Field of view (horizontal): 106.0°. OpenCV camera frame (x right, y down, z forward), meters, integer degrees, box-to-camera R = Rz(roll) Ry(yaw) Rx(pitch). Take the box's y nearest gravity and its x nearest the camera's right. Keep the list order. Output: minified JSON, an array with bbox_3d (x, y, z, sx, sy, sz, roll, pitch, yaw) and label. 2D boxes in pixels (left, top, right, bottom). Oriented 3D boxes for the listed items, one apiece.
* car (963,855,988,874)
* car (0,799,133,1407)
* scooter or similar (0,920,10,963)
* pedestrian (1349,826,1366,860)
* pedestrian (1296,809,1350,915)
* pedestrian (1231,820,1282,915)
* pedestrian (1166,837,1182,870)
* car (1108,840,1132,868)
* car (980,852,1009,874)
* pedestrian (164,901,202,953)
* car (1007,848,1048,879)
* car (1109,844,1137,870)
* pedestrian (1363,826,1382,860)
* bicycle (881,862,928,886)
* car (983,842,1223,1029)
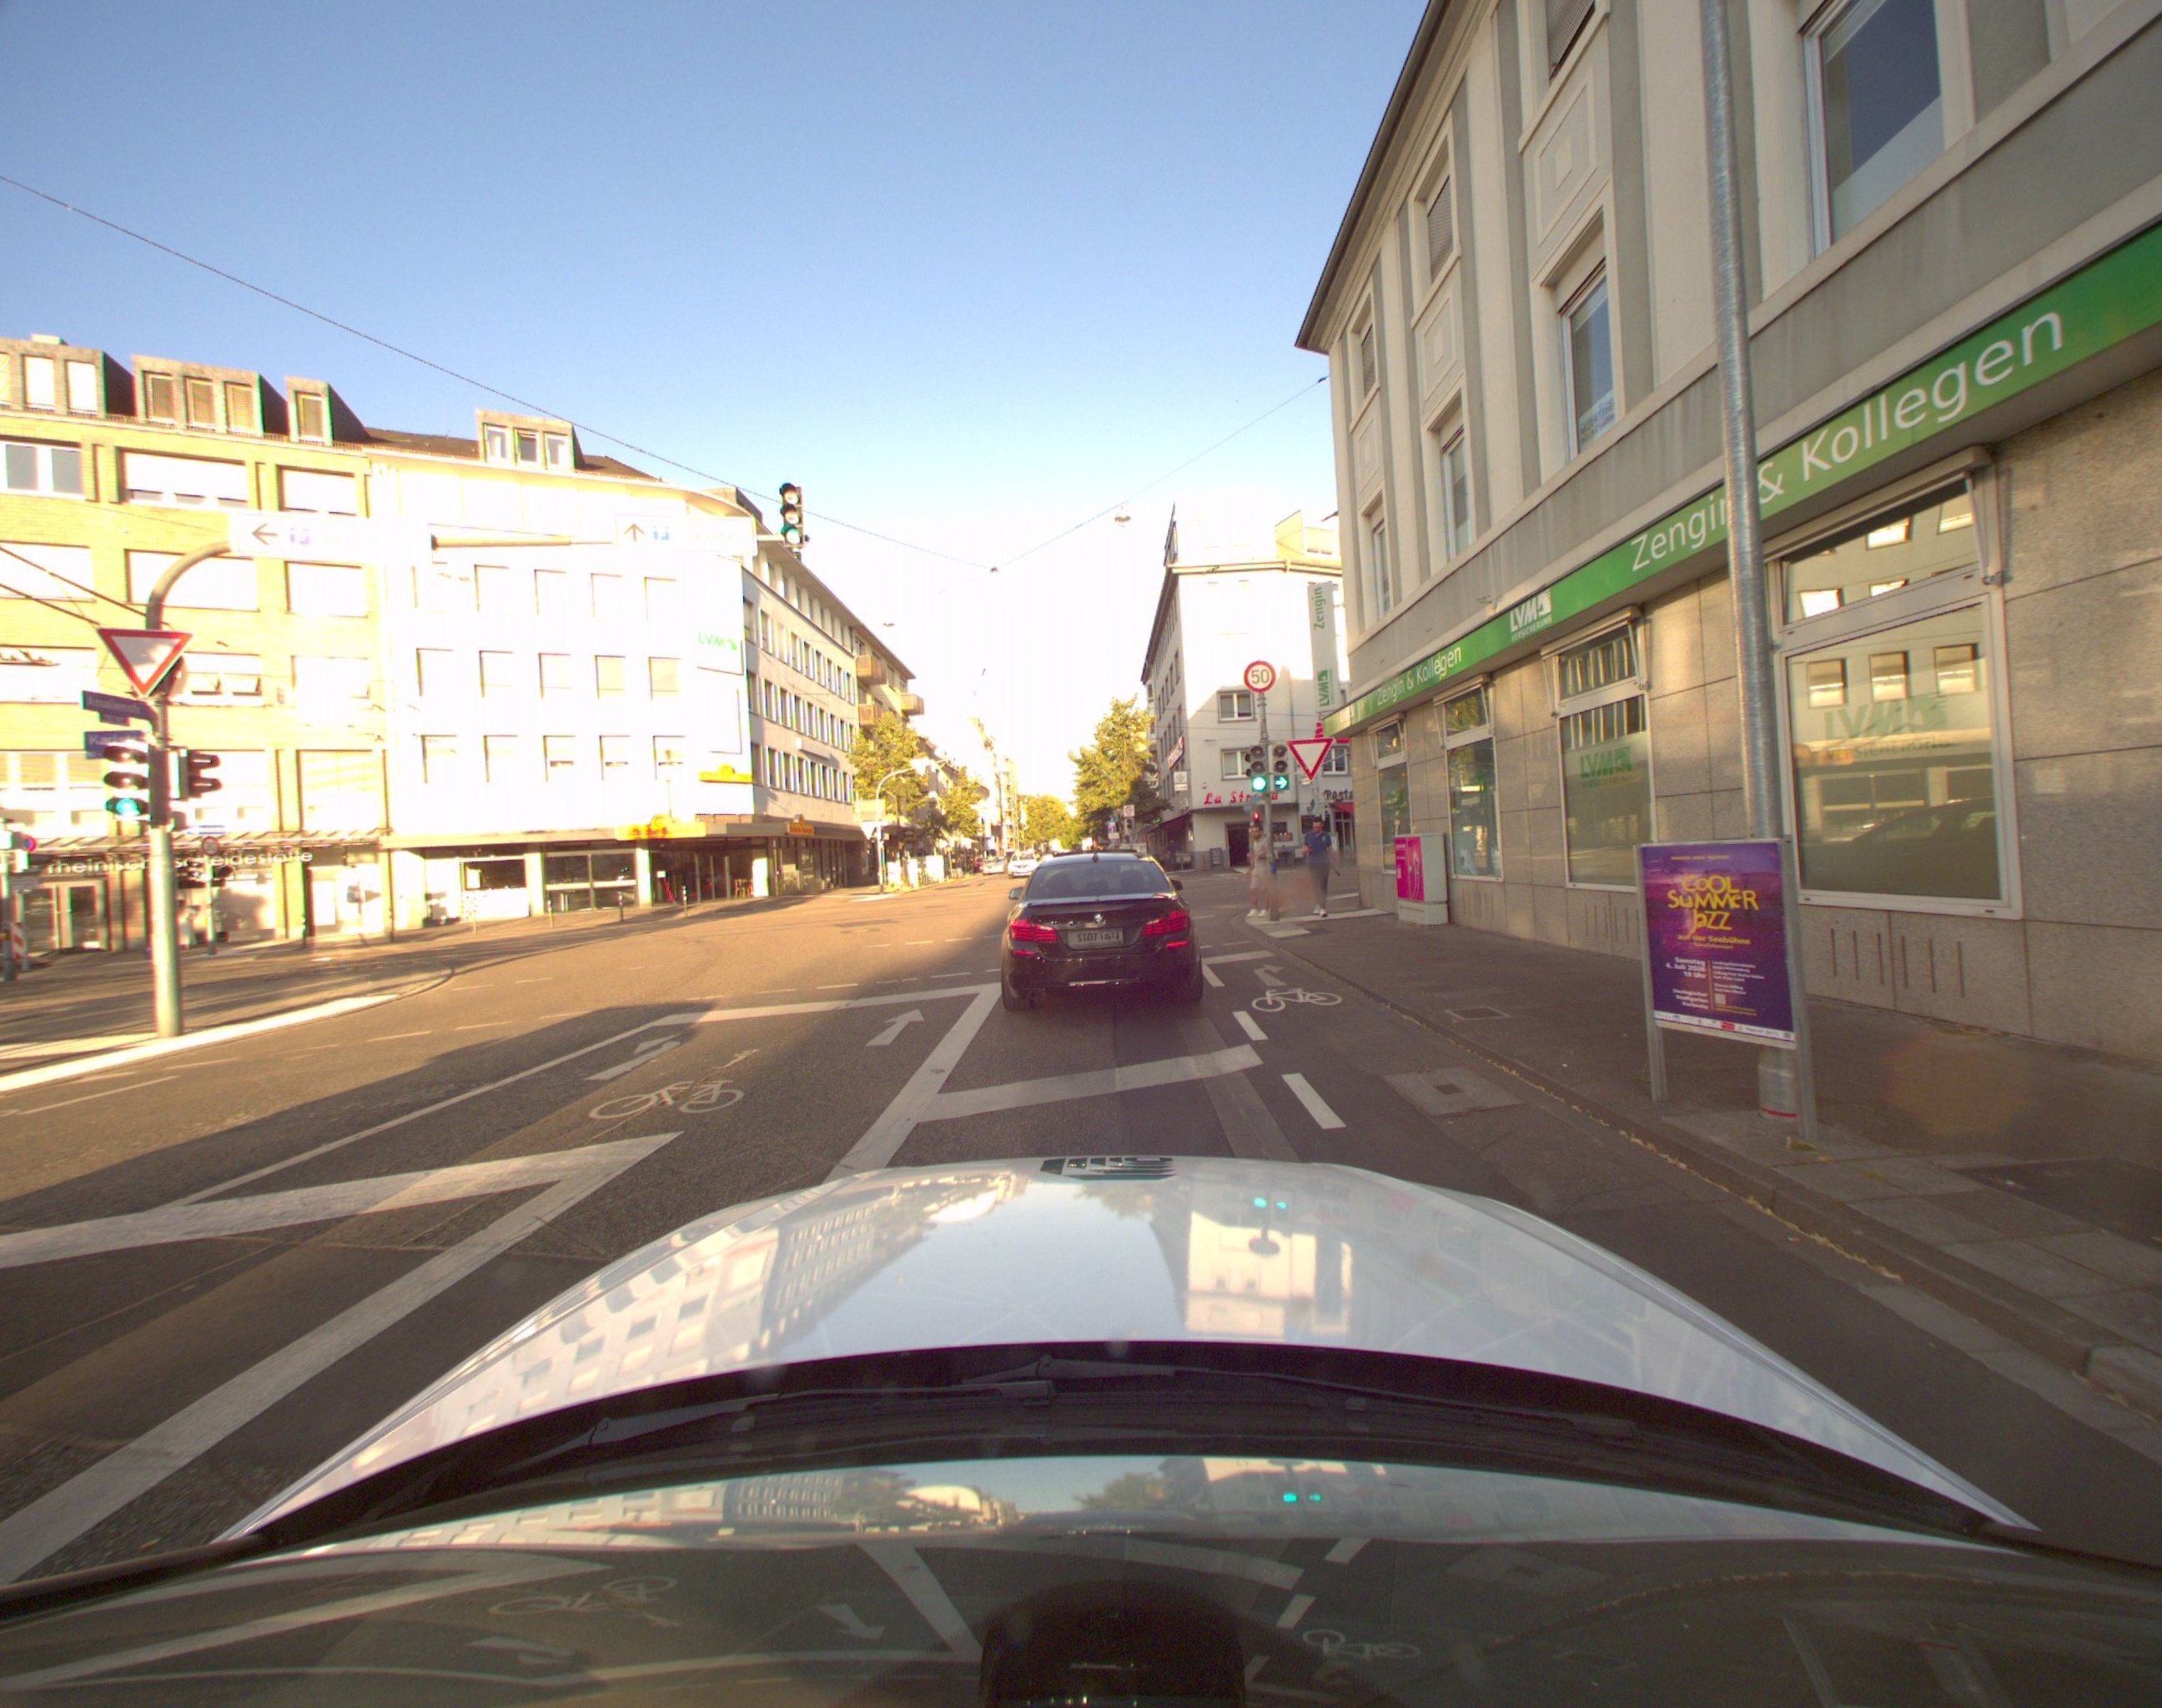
[{"bbox_3d":[-9.853,0.980,76.313,1.829,1.556,3.778,-5,0,-1],"label":"car"},{"bbox_3d":[-4.005,0.743,0.305,1.794,1.697,4.571,-3,0,2],"label":"car"},{"bbox_3d":[-32.514,2.632,23.757,1.467,1.258,0.393,-4,2,-22],"label":"scooter or similar"},{"bbox_3d":[14.907,-0.579,43.915,0.630,1.778,0.604,-3,0,43],"label":"pedestrian"},{"bbox_3d":[4.364,0.137,14.737,0.687,1.827,0.882,-4,0,7],"label":"pedestrian"},{"bbox_3d":[3.340,0.248,15.547,0.651,1.742,0.692,-4,0,-8],"label":"pedestrian"},{"bbox_3d":[4.898,-0.037,42.947,0.709,1.676,0.703,-3,0,0],"label":"pedestrian"},{"bbox_3d":[2.808,-0.024,58.084,1.633,1.873,3.610,-1,1,3],"label":"car"},{"bbox_3d":[-6.716,0.657,63.732,1.829,1.556,3.778,-4,0,-1],"label":"car"},{"bbox_3d":[-27.599,2.227,25.039,0.628,1.471,0.537,-5,4,-39],"label":"pedestrian"},{"bbox_3d":[-3.148,0.562,48.368,2.102,1.556,4.011,-5,0,-1],"label":"car"},{"bbox_3d":[2.663,0.168,51.411,1.633,1.444,3.610,-4,0,3],"label":"car"},{"bbox_3d":[15.545,-0.589,43.406,0.630,1.744,0.673,-3,0,43],"label":"pedestrian"},{"bbox_3d":[-9.631,1.092,44.461,2.362,1.253,0.639,-2,-1,-4],"label":"bicycle"},{"bbox_3d":[0.259,0.665,8.975,1.946,1.498,4.467,-2,0,2],"label":"car"}]
